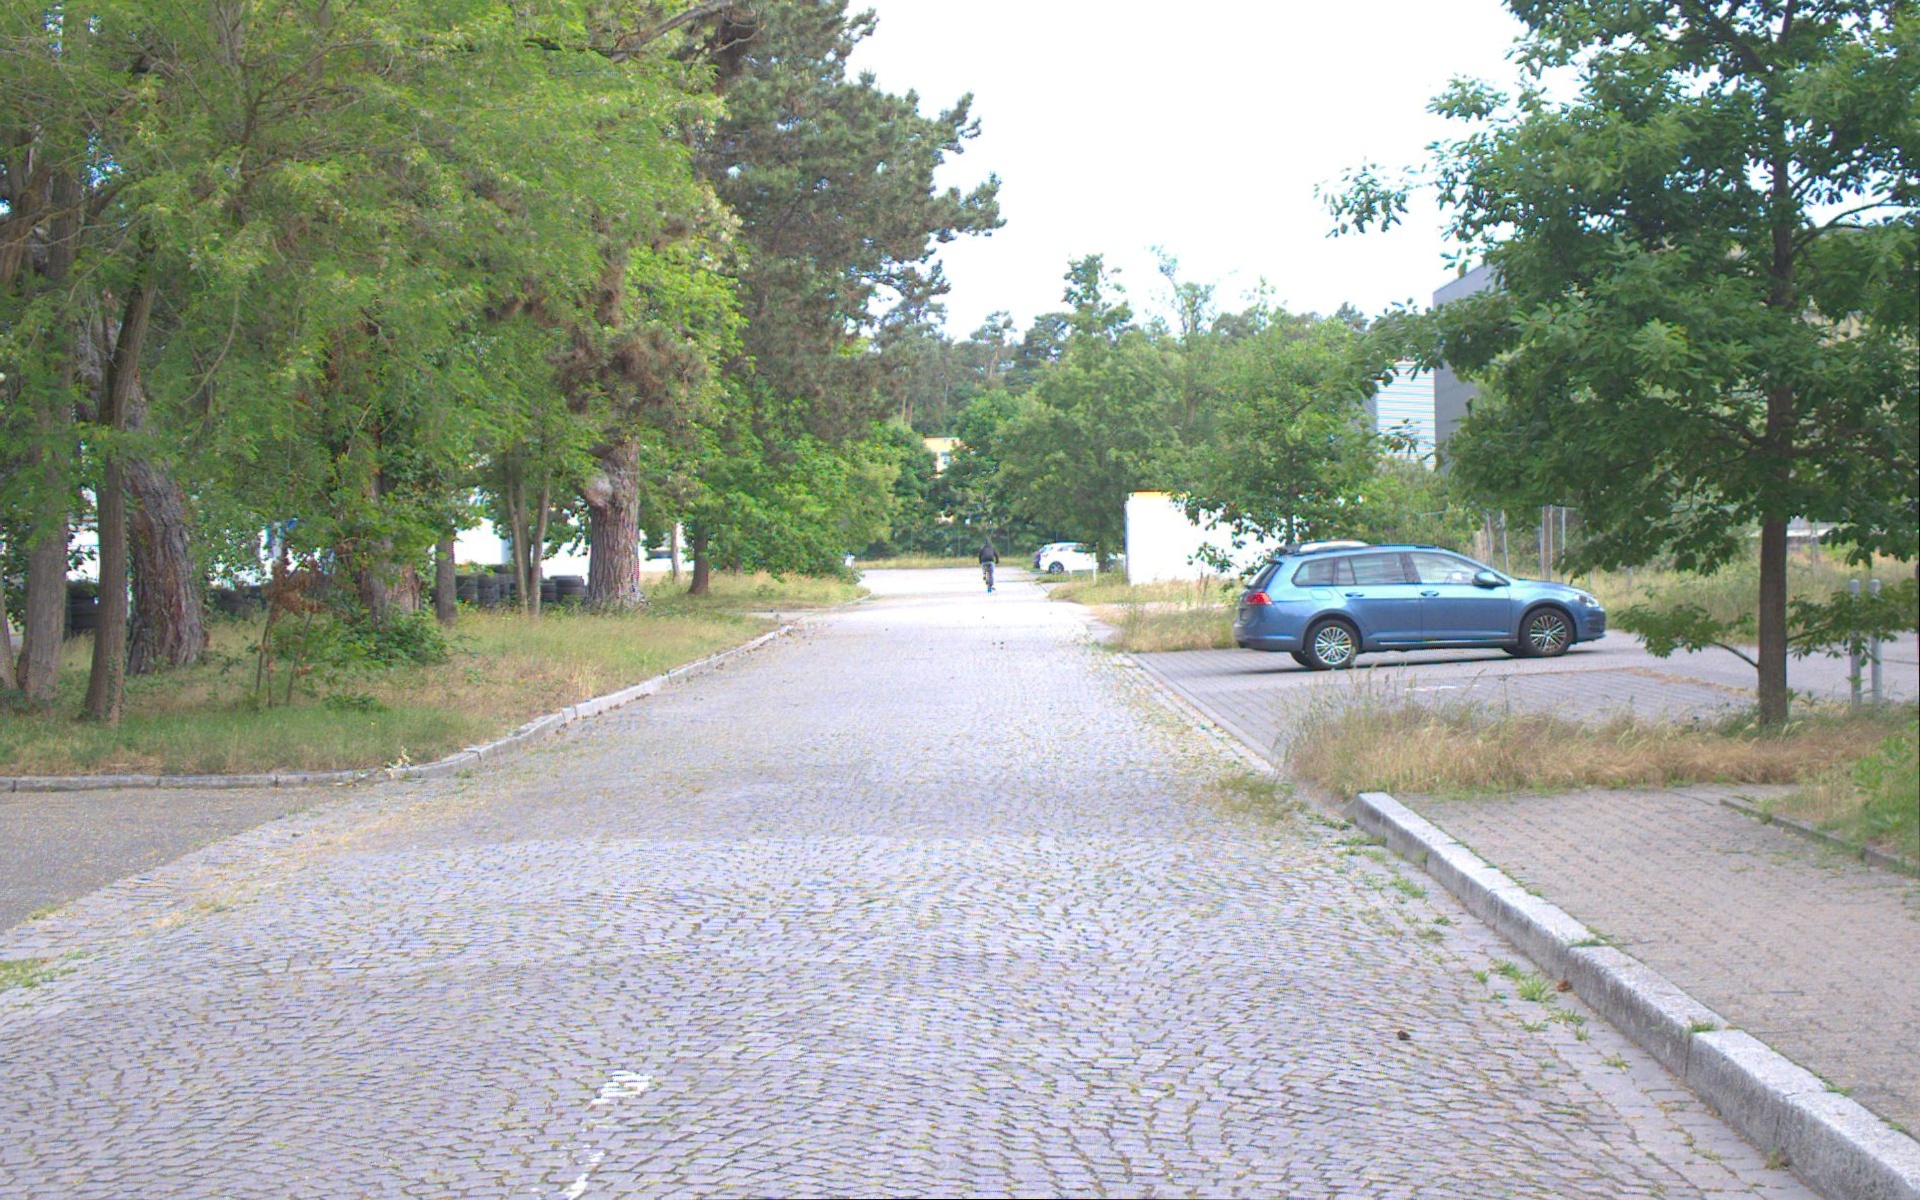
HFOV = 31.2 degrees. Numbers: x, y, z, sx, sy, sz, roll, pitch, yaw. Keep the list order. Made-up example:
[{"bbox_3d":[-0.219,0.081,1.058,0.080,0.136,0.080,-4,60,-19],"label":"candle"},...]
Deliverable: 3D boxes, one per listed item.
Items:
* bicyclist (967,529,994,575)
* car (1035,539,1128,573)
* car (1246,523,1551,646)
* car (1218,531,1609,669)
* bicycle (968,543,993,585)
[{"bbox_3d":[0.697,-1.664,118.493,0.897,1.537,0.868,-1,2,-1],"label":"bicyclist"},{"bbox_3d":[5.745,-2.089,162.405,4.322,1.544,2.000,-1,1,2],"label":"car"},{"bbox_3d":[6.347,-0.235,50.032,4.107,1.567,1.765,-3,1,-2],"label":"car"},{"bbox_3d":[5.568,-0.016,42.590,4.480,1.457,1.935,-3,1,-2],"label":"car"},{"bbox_3d":[0.700,-1.252,118.494,0.823,1.372,2.043,-1,2,-1],"label":"bicycle"}]
